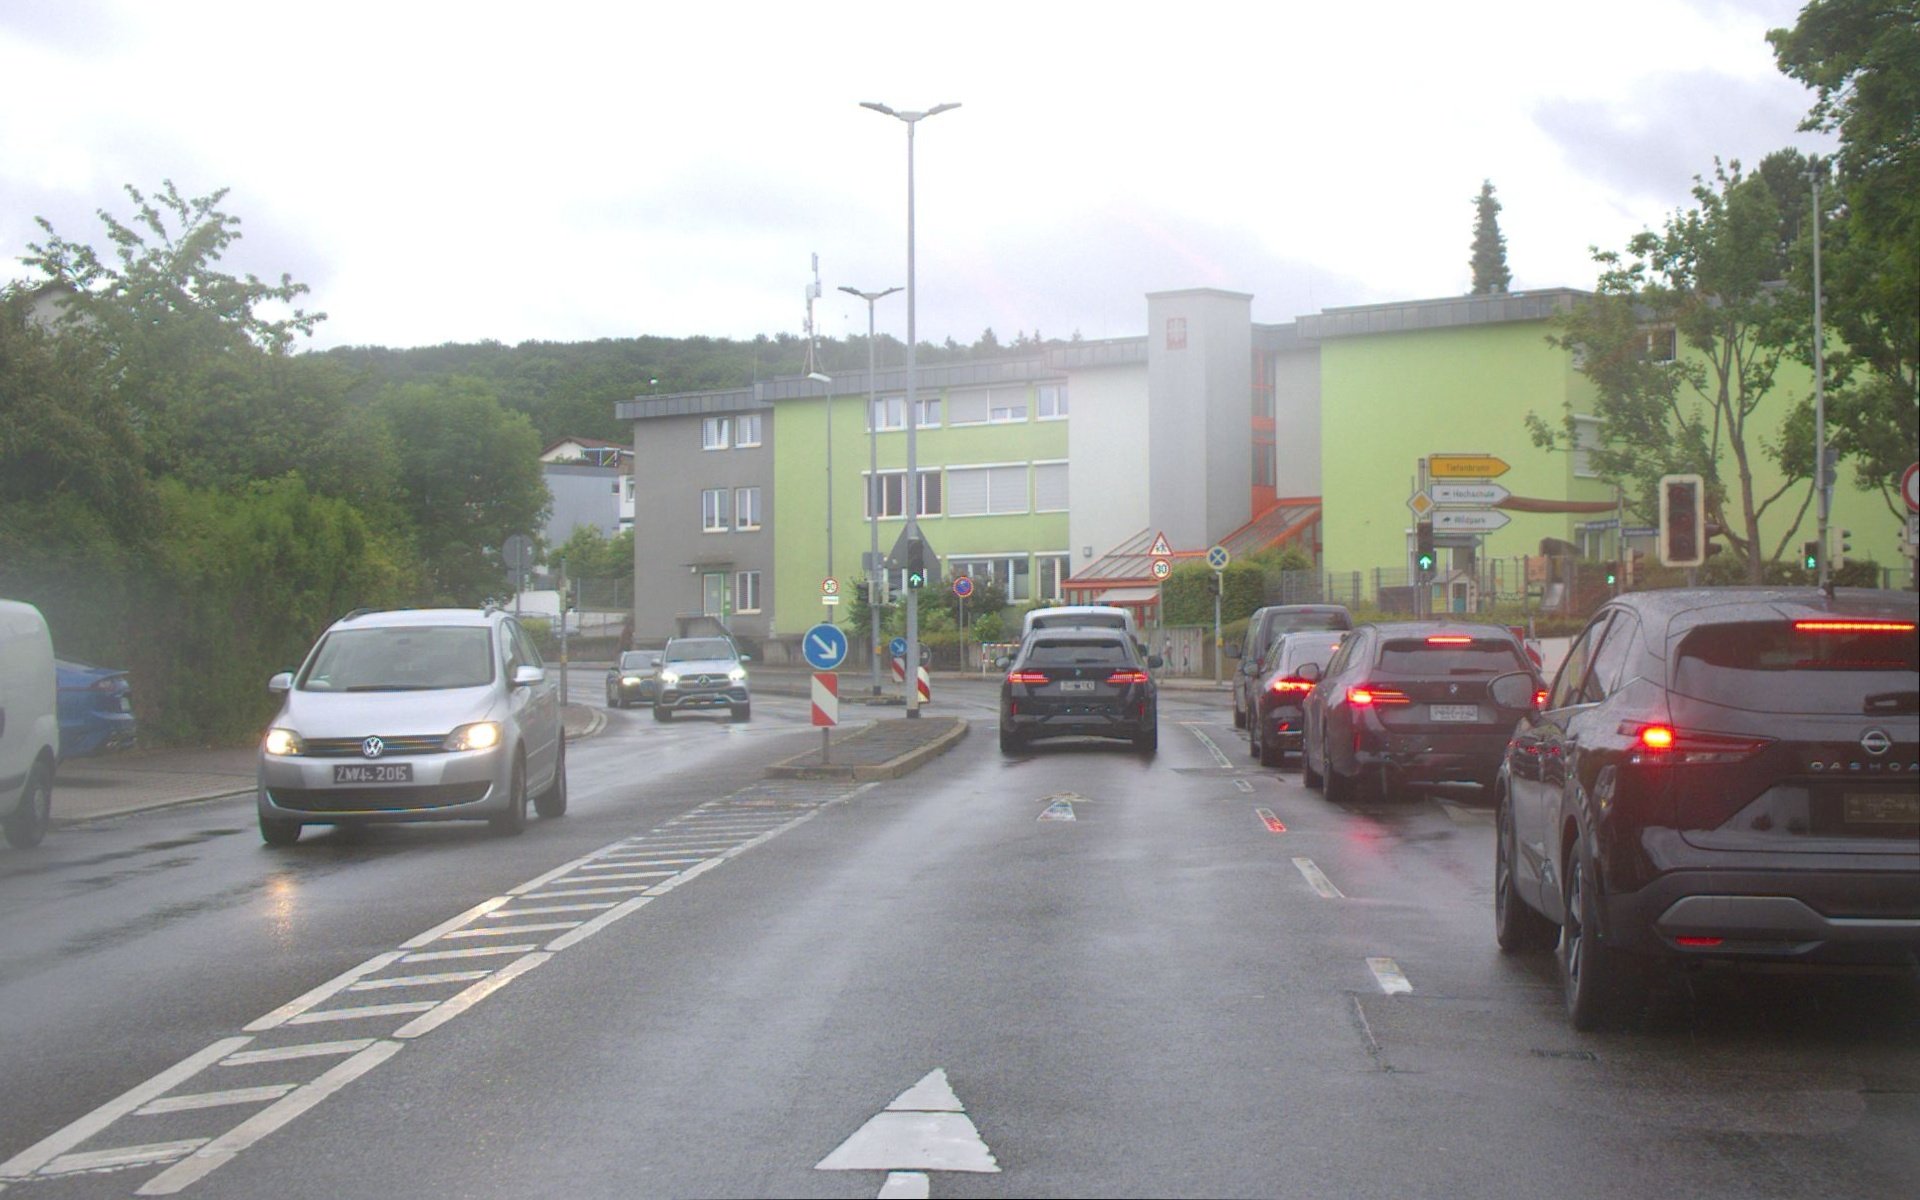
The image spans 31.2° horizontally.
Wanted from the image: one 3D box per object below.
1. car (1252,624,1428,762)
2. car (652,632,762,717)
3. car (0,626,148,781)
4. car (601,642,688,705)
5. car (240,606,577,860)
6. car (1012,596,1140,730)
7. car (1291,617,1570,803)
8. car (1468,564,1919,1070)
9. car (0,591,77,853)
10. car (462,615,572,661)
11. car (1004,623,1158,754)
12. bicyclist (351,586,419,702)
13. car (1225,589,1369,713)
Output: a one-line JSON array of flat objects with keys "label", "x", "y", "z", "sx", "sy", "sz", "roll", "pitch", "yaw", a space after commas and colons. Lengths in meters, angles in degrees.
[{"label": "car", "x": 4.145, "y": 0.986, "z": 38.020, "sx": 1.707, "sy": 1.422, "sz": 4.508, "roll": -1, "pitch": 0, "yaw": 4}, {"label": "car", "x": -5.516, "y": 1.578, "z": 74.514, "sx": 2.040, "sy": 1.710, "sz": 4.482, "roll": -2, "pitch": 0, "yaw": -8}, {"label": "car", "x": -10.153, "y": 0.921, "z": 32.641, "sx": 4.482, "sy": 1.357, "sz": 1.805, "roll": 2, "pitch": 1, "yaw": -4}, {"label": "car", "x": -8.181, "y": 1.888, "z": 88.829, "sx": 1.993, "sy": 1.569, "sz": 4.001, "roll": 1, "pitch": -1, "yaw": -8}, {"label": "car", "x": -3.827, "y": 0.874, "z": 24.472, "sx": 1.634, "sy": 1.574, "sz": 4.057, "roll": -3, "pitch": 0, "yaw": 0}, {"label": "car", "x": 1.687, "y": 0.892, "z": 50.974, "sx": 1.717, "sy": 1.838, "sz": 4.087, "roll": 1, "pitch": 1, "yaw": 0}, {"label": "car", "x": 3.944, "y": 0.888, "z": 29.555, "sx": 1.905, "sy": 1.454, "sz": 4.777, "roll": -1, "pitch": 0, "yaw": 2}, {"label": "car", "x": 3.091, "y": 0.703, "z": 13.497, "sx": 1.790, "sy": 1.598, "sz": 4.253, "roll": 1, "pitch": 1, "yaw": 4}, {"label": "car", "x": -7.124, "y": 0.767, "z": 22.211, "sx": 1.700, "sy": 1.702, "sz": 3.979, "roll": 3, "pitch": 0, "yaw": 0}, {"label": "car", "x": -18.978, "y": 1.621, "z": 147.266, "sx": 4.393, "sy": 1.766, "sz": 2.000, "roll": -2, "pitch": -1, "yaw": -14}, {"label": "car", "x": 1.450, "y": 1.057, "z": 42.372, "sx": 1.682, "sy": 1.501, "sz": 3.773, "roll": 1, "pitch": 0, "yaw": -1}, {"label": "bicyclist", "x": -8.046, "y": 0.621, "z": 48.153, "sx": 0.764, "sy": 1.606, "sz": 0.868, "roll": 1, "pitch": -1, "yaw": 1}, {"label": "car", "x": 4.976, "y": 0.728, "z": 51.270, "sx": 1.783, "sy": 1.728, "sz": 4.086, "roll": 1, "pitch": 0, "yaw": 1}]
